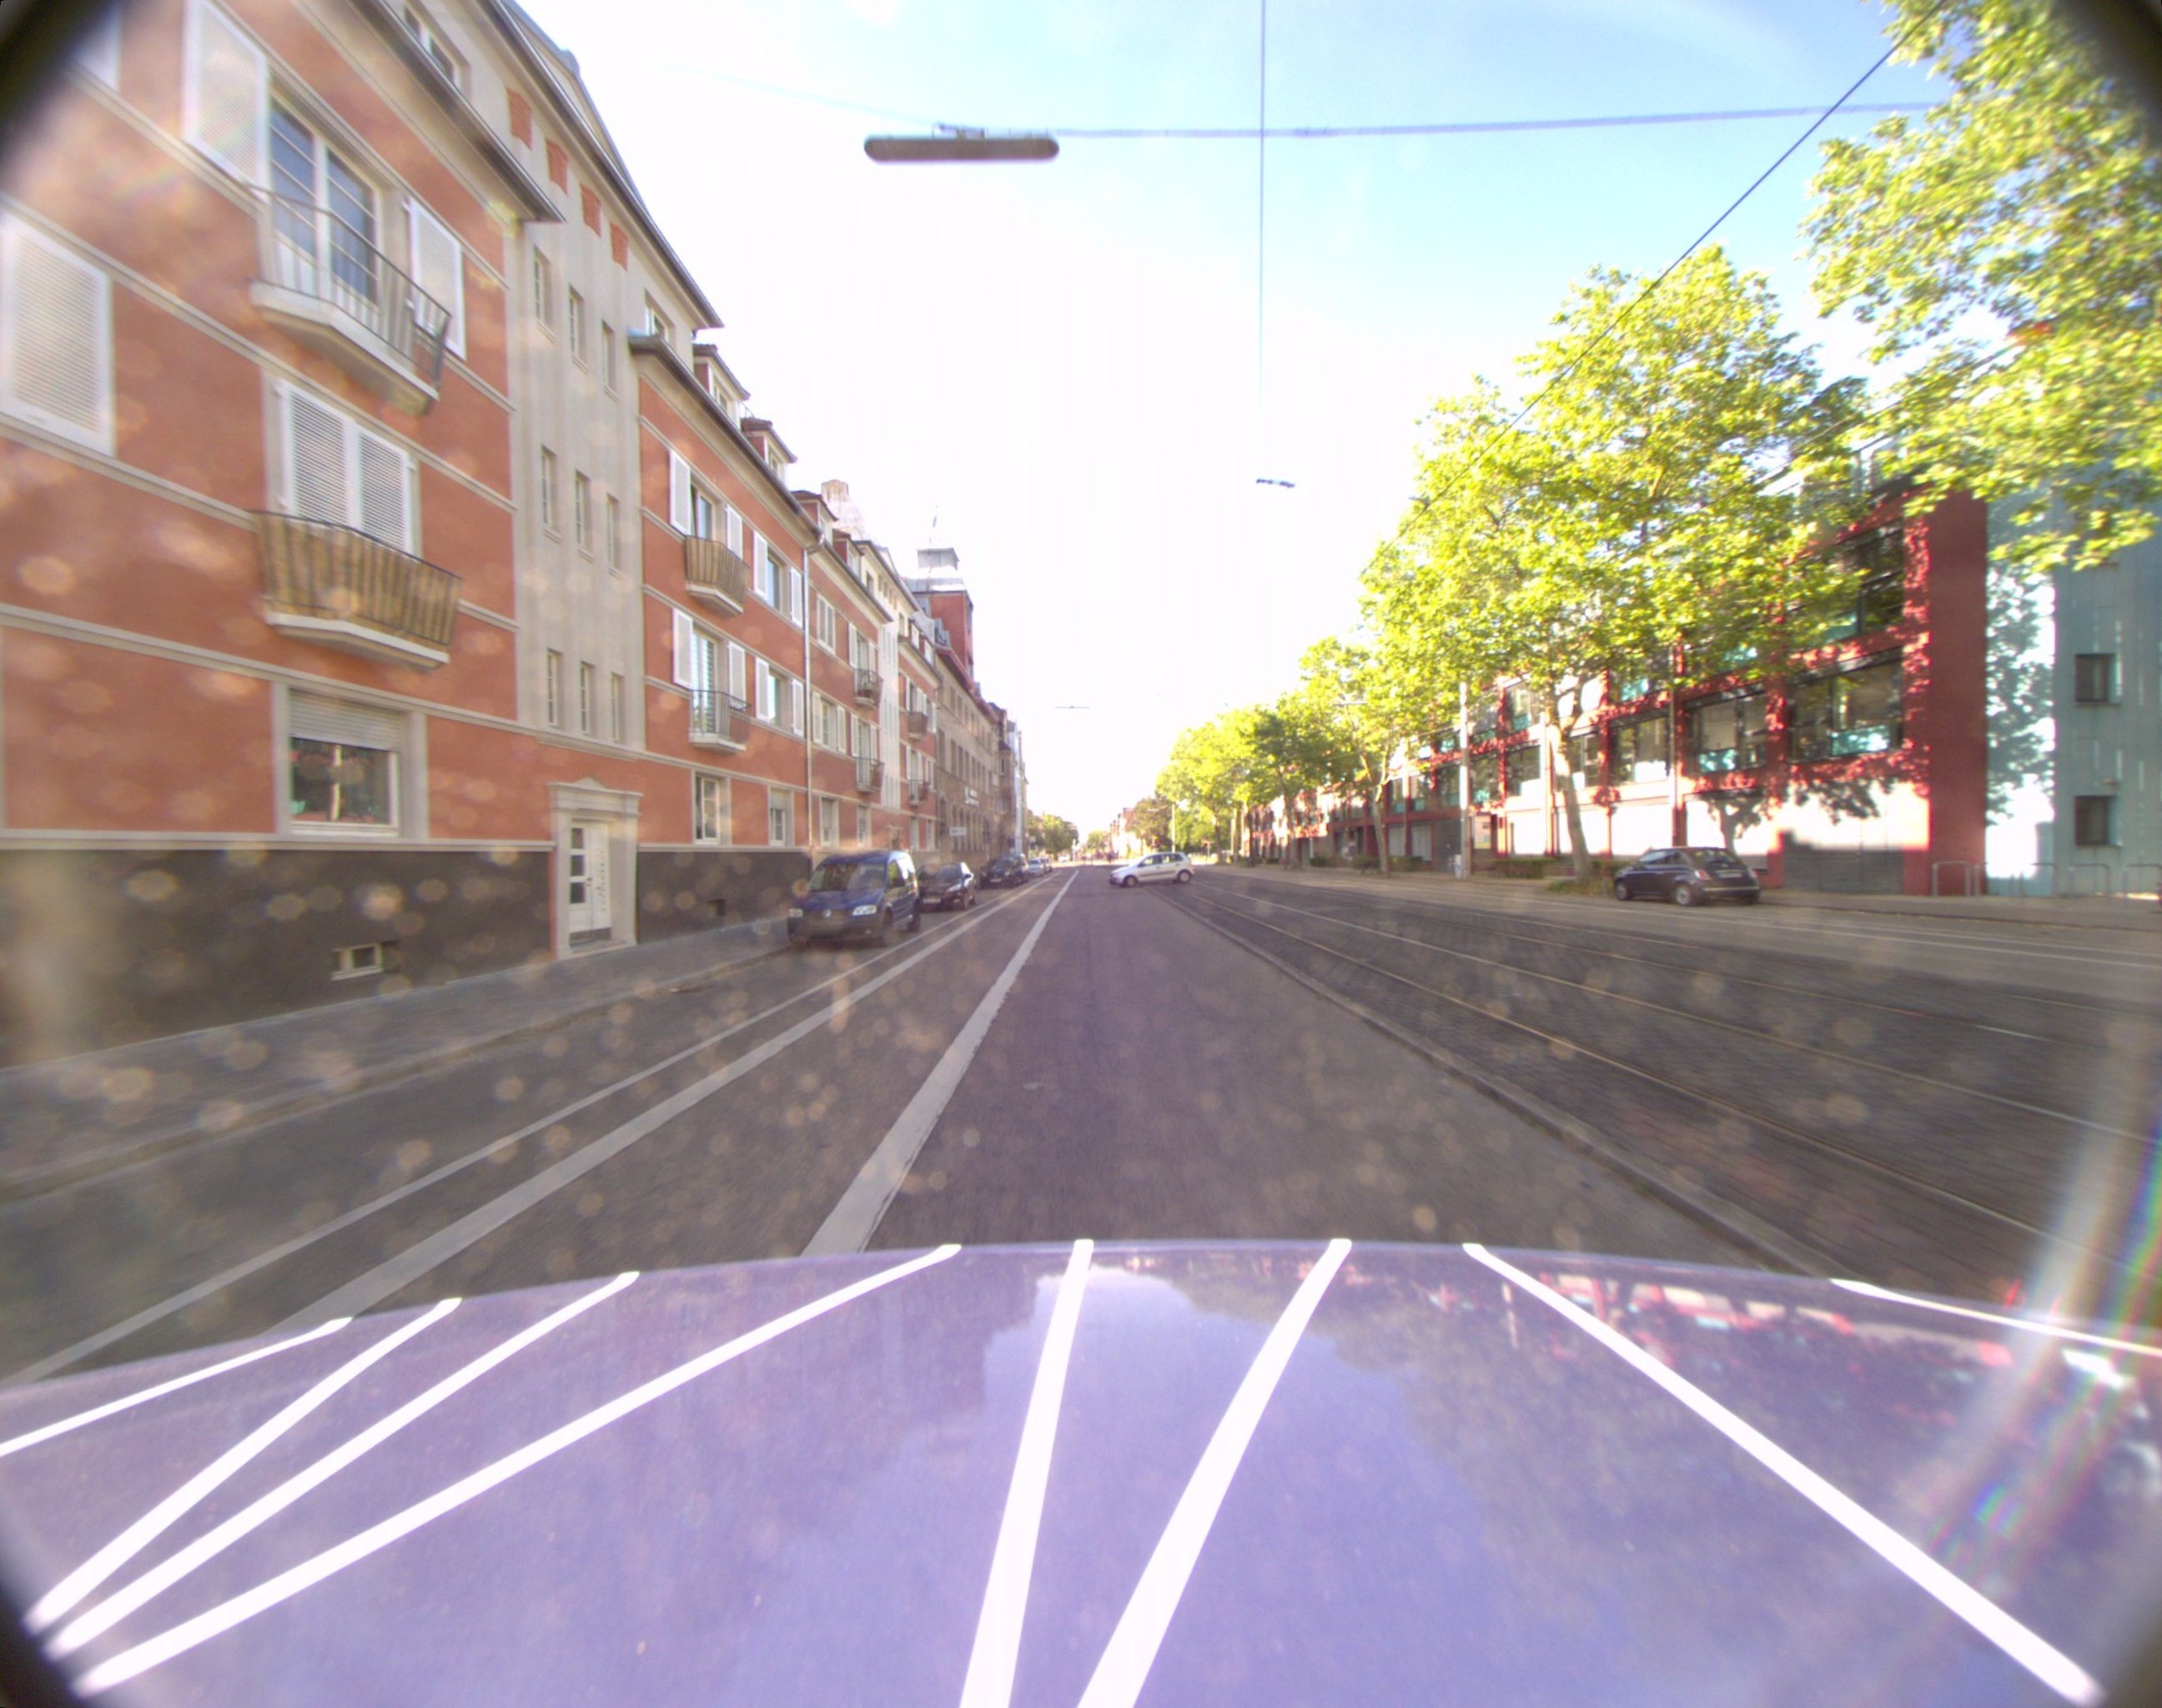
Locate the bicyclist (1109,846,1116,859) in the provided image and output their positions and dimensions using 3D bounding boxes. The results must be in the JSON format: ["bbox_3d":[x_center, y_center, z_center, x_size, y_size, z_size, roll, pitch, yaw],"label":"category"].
[{"bbox_3d":[4.198,-0.153,101.170,0.605,1.682,0.934,-3,1,26],"label":"bicyclist"}]

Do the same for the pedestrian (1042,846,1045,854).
[{"bbox_3d":[-7.813,-0.873,158.959,0.655,1.664,0.943,0,1,3],"label":"pedestrian"}]

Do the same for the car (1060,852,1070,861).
[{"bbox_3d":[-3.492,0.550,167.357,1.923,1.705,4.001,-3,0,3],"label":"car"}]

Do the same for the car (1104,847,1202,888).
[{"bbox_3d":[3.237,0.586,34.503,4.069,1.509,1.757,-4,1,-5],"label":"car"}]

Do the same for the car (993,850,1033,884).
[{"bbox_3d":[-3.847,0.698,43.912,1.757,1.845,4.815,-2,0,1],"label":"car"}]

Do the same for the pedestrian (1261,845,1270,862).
[{"bbox_3d":[19.189,-0.011,78.935,0.627,1.708,0.900,-3,1,0],"label":"pedestrian"}]

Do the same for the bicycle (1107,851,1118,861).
[{"bbox_3d":[4.205,0.217,101.211,0.632,1.124,2.037,1,5,24],"label":"bicycle"}]

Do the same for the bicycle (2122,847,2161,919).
[{"bbox_3d":[20.414,0.490,13.810,2.013,1.271,0.664,-3,0,1],"label":"bicycle"}]

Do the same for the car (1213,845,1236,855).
[{"bbox_3d":[28.885,-0.759,153.323,4.311,1.856,1.817,-1,1,3],"label":"car"}]

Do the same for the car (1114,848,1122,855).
[{"bbox_3d":[10.346,-0.710,212.729,1.923,1.890,4.001,-3,0,3],"label":"car"}]

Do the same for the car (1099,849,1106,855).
[{"bbox_3d":[7.159,-0.636,253.878,2.024,2.001,5.252,0,-1,3],"label":"car"}]

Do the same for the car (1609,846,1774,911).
[{"bbox_3d":[15.569,0.570,19.609,1.511,1.445,3.464,-3,0,2],"label":"car"}]

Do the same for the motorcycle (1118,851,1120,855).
[{"bbox_3d":[9.888,-0.200,197.762,0.605,1.040,2.437,-3,0,3],"label":"motorcycle"}]

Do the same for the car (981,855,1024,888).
[{"bbox_3d":[-3.992,0.869,39.015,1.635,1.502,3.717,-3,0,2],"label":"car"}]

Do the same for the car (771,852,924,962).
[{"bbox_3d":[-4.414,0.898,15.091,1.707,1.800,4.270,-2,1,-1],"label":"car"}]

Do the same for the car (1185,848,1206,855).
[{"bbox_3d":[22.821,-0.467,151.255,3.995,1.425,1.817,-1,0,6],"label":"car"}]

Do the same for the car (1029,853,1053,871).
[{"bbox_3d":[-3.613,0.721,68.876,1.757,1.492,4.196,-3,0,2],"label":"car"}]

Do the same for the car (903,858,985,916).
[{"bbox_3d":[-4.208,0.960,24.058,1.758,1.502,4.761,-3,0,-2],"label":"car"}]

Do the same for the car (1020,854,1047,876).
[{"bbox_3d":[-3.647,0.831,58.687,1.718,1.492,4.226,-3,0,1],"label":"car"}]

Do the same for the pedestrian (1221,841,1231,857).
[{"bbox_3d":[18.869,-0.674,98.919,0.913,2.002,0.780,-3,1,-8],"label":"pedestrian"}]

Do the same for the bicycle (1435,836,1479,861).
[{"bbox_3d":[20.895,-0.284,42.271,2.066,1.265,0.618,-3,0,5],"label":"bicycle"}]
